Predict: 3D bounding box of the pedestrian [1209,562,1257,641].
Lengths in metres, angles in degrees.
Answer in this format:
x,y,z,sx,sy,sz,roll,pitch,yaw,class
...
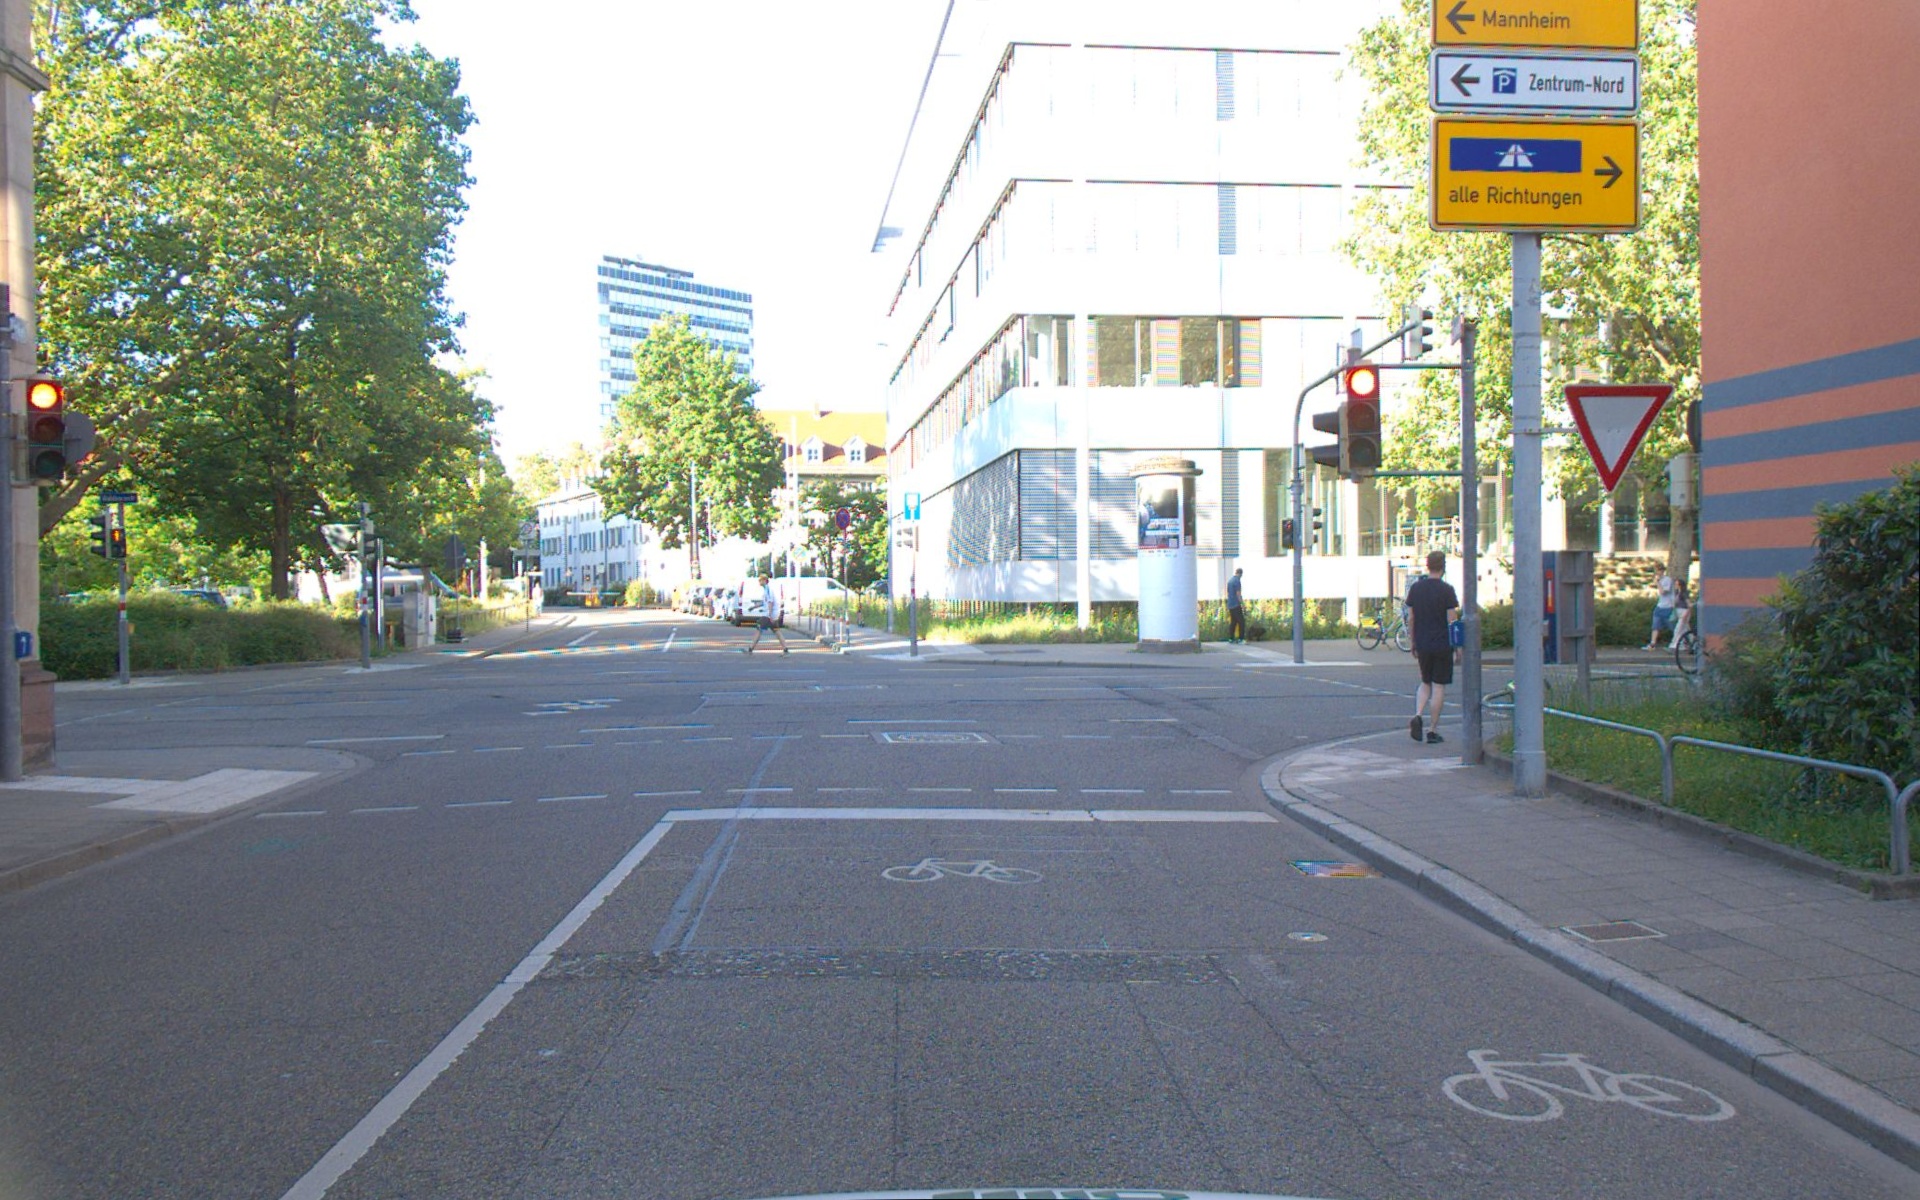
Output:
x,y,z,sx,sy,sz,roll,pitch,yaw,class
6.430,0.035,39.019,0.897,1.847,0.760,1,-1,-9,pedestrian

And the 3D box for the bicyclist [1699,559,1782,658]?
x,y,z,sx,sy,sz,roll,pitch,yaw,class
12.512,0.138,26.544,1.052,1.554,0.593,-1,0,5,bicyclist

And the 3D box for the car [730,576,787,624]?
x,y,z,sx,sy,sz,roll,pitch,yaw,class
-7.915,0.006,64.711,1.957,1.755,4.641,1,0,-10,car

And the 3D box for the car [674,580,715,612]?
x,y,z,sx,sy,sz,roll,pitch,yaw,class
-15.384,-0.224,95.613,1.960,1.755,4.635,1,0,-14,car

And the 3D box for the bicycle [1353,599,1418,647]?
x,y,z,sx,sy,sz,roll,pitch,yaw,class
9.326,0.495,36.292,0.376,1.026,1.410,-1,0,-42,bicycle

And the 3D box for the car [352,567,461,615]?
x,y,z,sx,sy,sz,roll,pitch,yaw,class
-24.962,-0.392,74.689,4.363,2.049,1.995,1,0,-10,car

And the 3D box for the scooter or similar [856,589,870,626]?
x,y,z,sx,sy,sz,roll,pitch,yaw,class
-3.426,0.256,58.245,0.429,1.278,1.418,-1,0,-5,scooter or similar

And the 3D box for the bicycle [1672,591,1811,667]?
x,y,z,sx,sy,sz,roll,pitch,yaw,class
12.524,0.459,26.538,1.922,1.172,0.593,-1,0,5,bicycle

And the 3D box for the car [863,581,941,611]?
x,y,z,sx,sy,sz,roll,pitch,yaw,class
-3.676,-0.255,104.732,4.563,1.755,1.991,1,0,-17,car

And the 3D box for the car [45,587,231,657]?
x,y,z,sx,sy,sz,roll,pitch,yaw,class
-18.363,0.487,37.072,3.347,1.483,1.646,1,0,-11,car

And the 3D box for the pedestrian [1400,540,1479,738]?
x,y,z,sx,sy,sz,roll,pitch,yaw,class
4.606,0.366,15.875,0.685,1.842,0.720,1,-1,18,pedestrian

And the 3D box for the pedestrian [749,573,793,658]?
x,y,z,sx,sy,sz,roll,pitch,yaw,class
-4.297,0.342,37.682,0.895,1.901,0.742,1,-1,-2,pedestrian

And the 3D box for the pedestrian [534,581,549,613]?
x,y,z,sx,sy,sz,roll,pitch,yaw,class
-21.332,-0.133,84.364,0.688,1.614,0.634,1,-1,-16,pedestrian

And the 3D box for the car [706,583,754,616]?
x,y,z,sx,sy,sz,roll,pitch,yaw,class
-11.307,-0.020,81.092,1.959,1.525,4.272,1,0,-13,car

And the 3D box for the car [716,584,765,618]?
x,y,z,sx,sy,sz,roll,pitch,yaw,class
-10.194,0.048,76.661,1.958,1.525,4.639,1,0,-11,car

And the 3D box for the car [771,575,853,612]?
x,y,z,sx,sy,sz,roll,pitch,yaw,class
-9.201,-0.367,102.806,4.718,2.196,1.990,1,0,-18,car

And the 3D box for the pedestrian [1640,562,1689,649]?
x,y,z,sx,sy,sz,roll,pitch,yaw,class
14.938,0.118,35.069,0.749,1.826,0.648,1,-1,2,pedestrian

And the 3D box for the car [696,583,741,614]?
x,y,z,sx,sy,sz,roll,pitch,yaw,class
-12.551,-0.063,85.798,1.959,1.525,4.637,1,0,-13,car

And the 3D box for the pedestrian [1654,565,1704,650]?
x,y,z,sx,sy,sz,roll,pitch,yaw,class
14.925,0.152,34.352,0.749,1.749,0.648,1,-1,2,pedestrian
